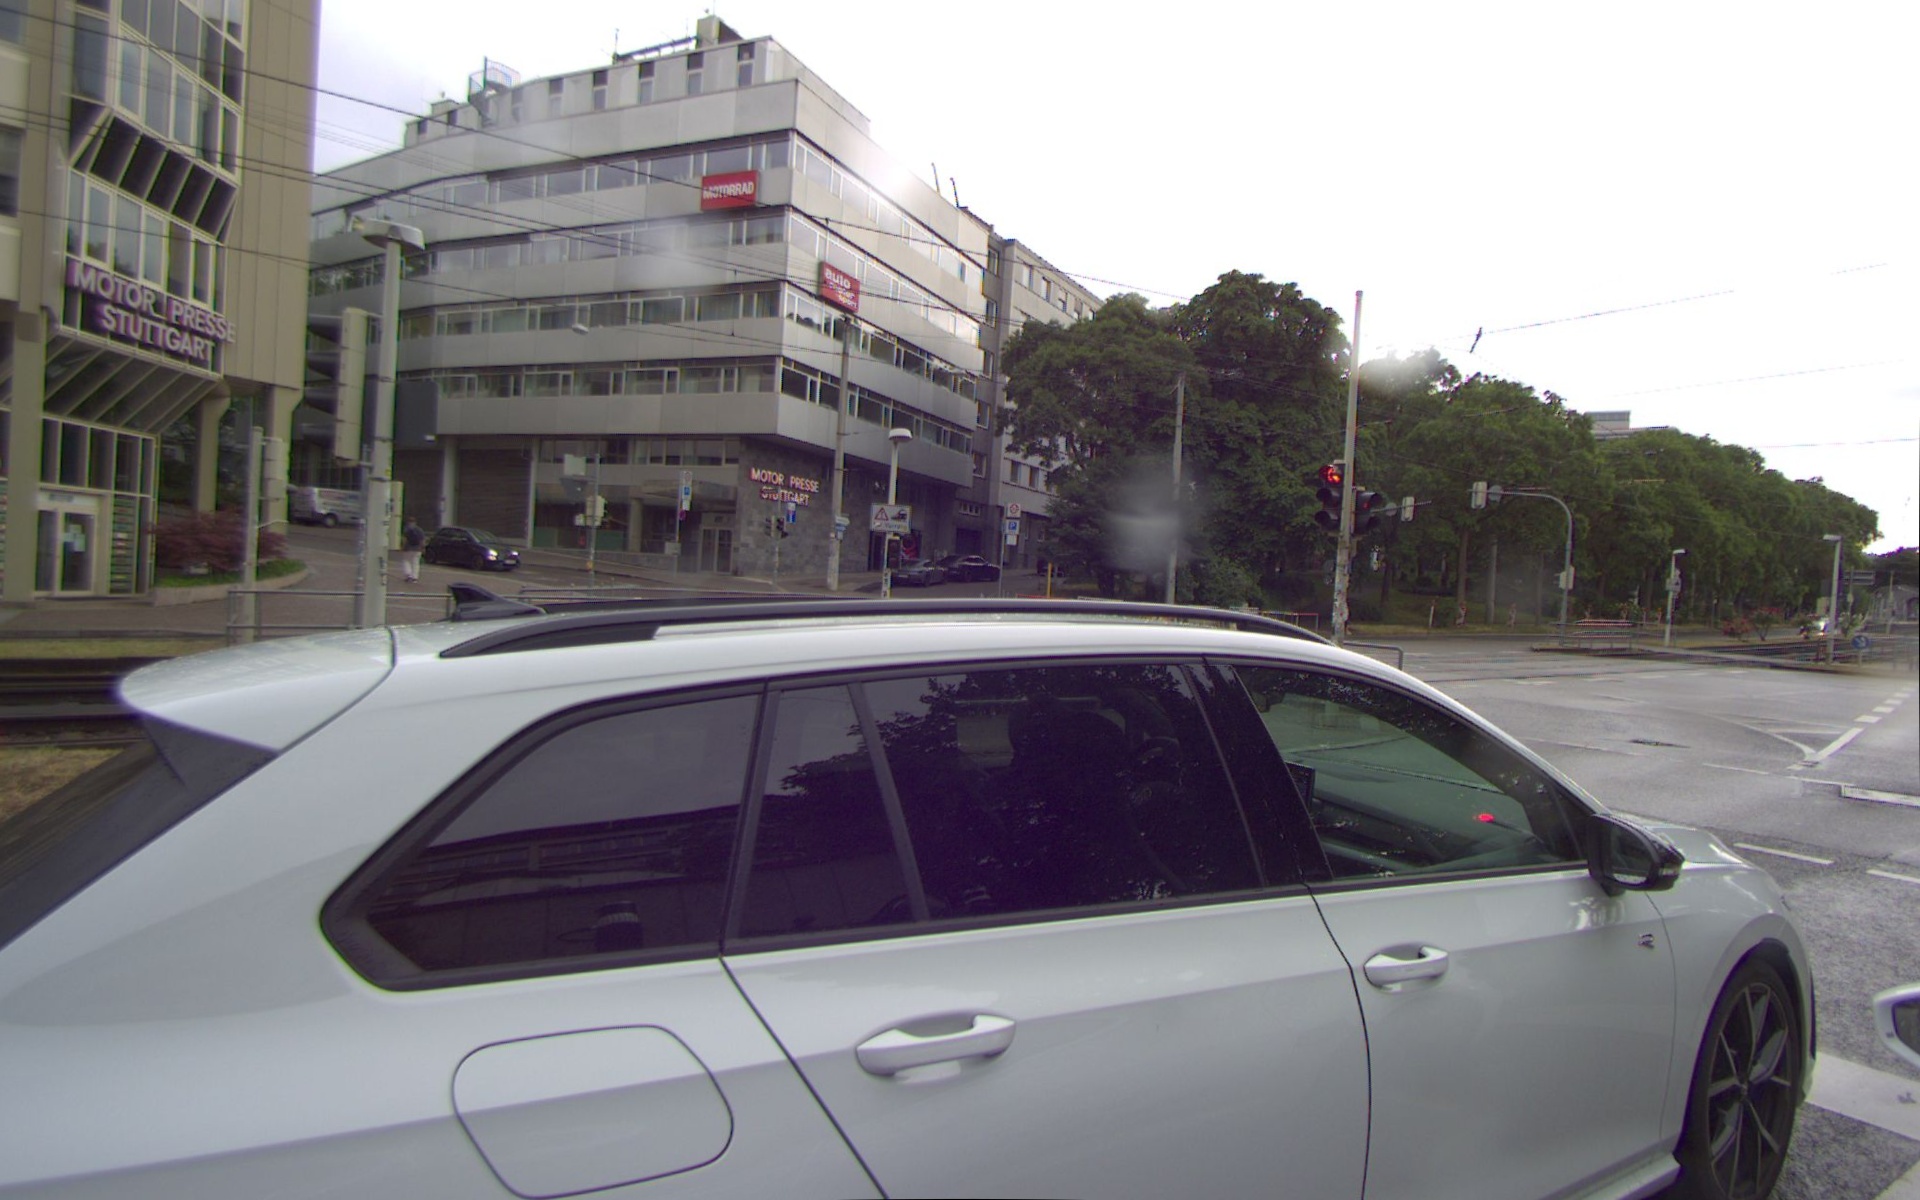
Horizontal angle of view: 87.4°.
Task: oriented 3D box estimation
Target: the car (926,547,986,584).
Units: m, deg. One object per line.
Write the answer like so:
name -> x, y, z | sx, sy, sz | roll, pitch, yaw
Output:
car -> -0.167, -1.948, 55.621 | 1.961, 1.818, 3.998 | 5, 5, 19

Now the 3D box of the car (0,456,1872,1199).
car -> 0.109, 0.699, 2.258 | 4.203, 1.597, 1.670 | 2, 1, -31

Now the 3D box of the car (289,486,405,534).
car -> -32.084, -4.681, 52.743 | 1.963, 2.040, 4.831 | 5, 2, 26

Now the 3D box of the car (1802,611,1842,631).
car -> 74.871, 1.835, 87.256 | 3.967, 1.539, 1.977 | 1, 2, -40

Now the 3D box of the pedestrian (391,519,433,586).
pedestrian -> -15.584, -1.349, 28.577 | 0.630, 1.811, 0.808 | 6, 3, 36

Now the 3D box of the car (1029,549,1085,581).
car -> 6.427, -2.291, 65.906 | 1.964, 1.818, 4.202 | 6, 2, 30

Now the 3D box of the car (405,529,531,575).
car -> -18.215, -1.778, 37.201 | 3.920, 1.383, 1.830 | 5, 2, 16

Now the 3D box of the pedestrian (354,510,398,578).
pedestrian -> -16.072, -1.537, 27.653 | 0.630, 1.811, 0.808 | 6, 3, 36

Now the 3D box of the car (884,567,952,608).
car -> -2.071, -0.638, 50.760 | 1.961, 1.818, 4.000 | 5, 2, 19
